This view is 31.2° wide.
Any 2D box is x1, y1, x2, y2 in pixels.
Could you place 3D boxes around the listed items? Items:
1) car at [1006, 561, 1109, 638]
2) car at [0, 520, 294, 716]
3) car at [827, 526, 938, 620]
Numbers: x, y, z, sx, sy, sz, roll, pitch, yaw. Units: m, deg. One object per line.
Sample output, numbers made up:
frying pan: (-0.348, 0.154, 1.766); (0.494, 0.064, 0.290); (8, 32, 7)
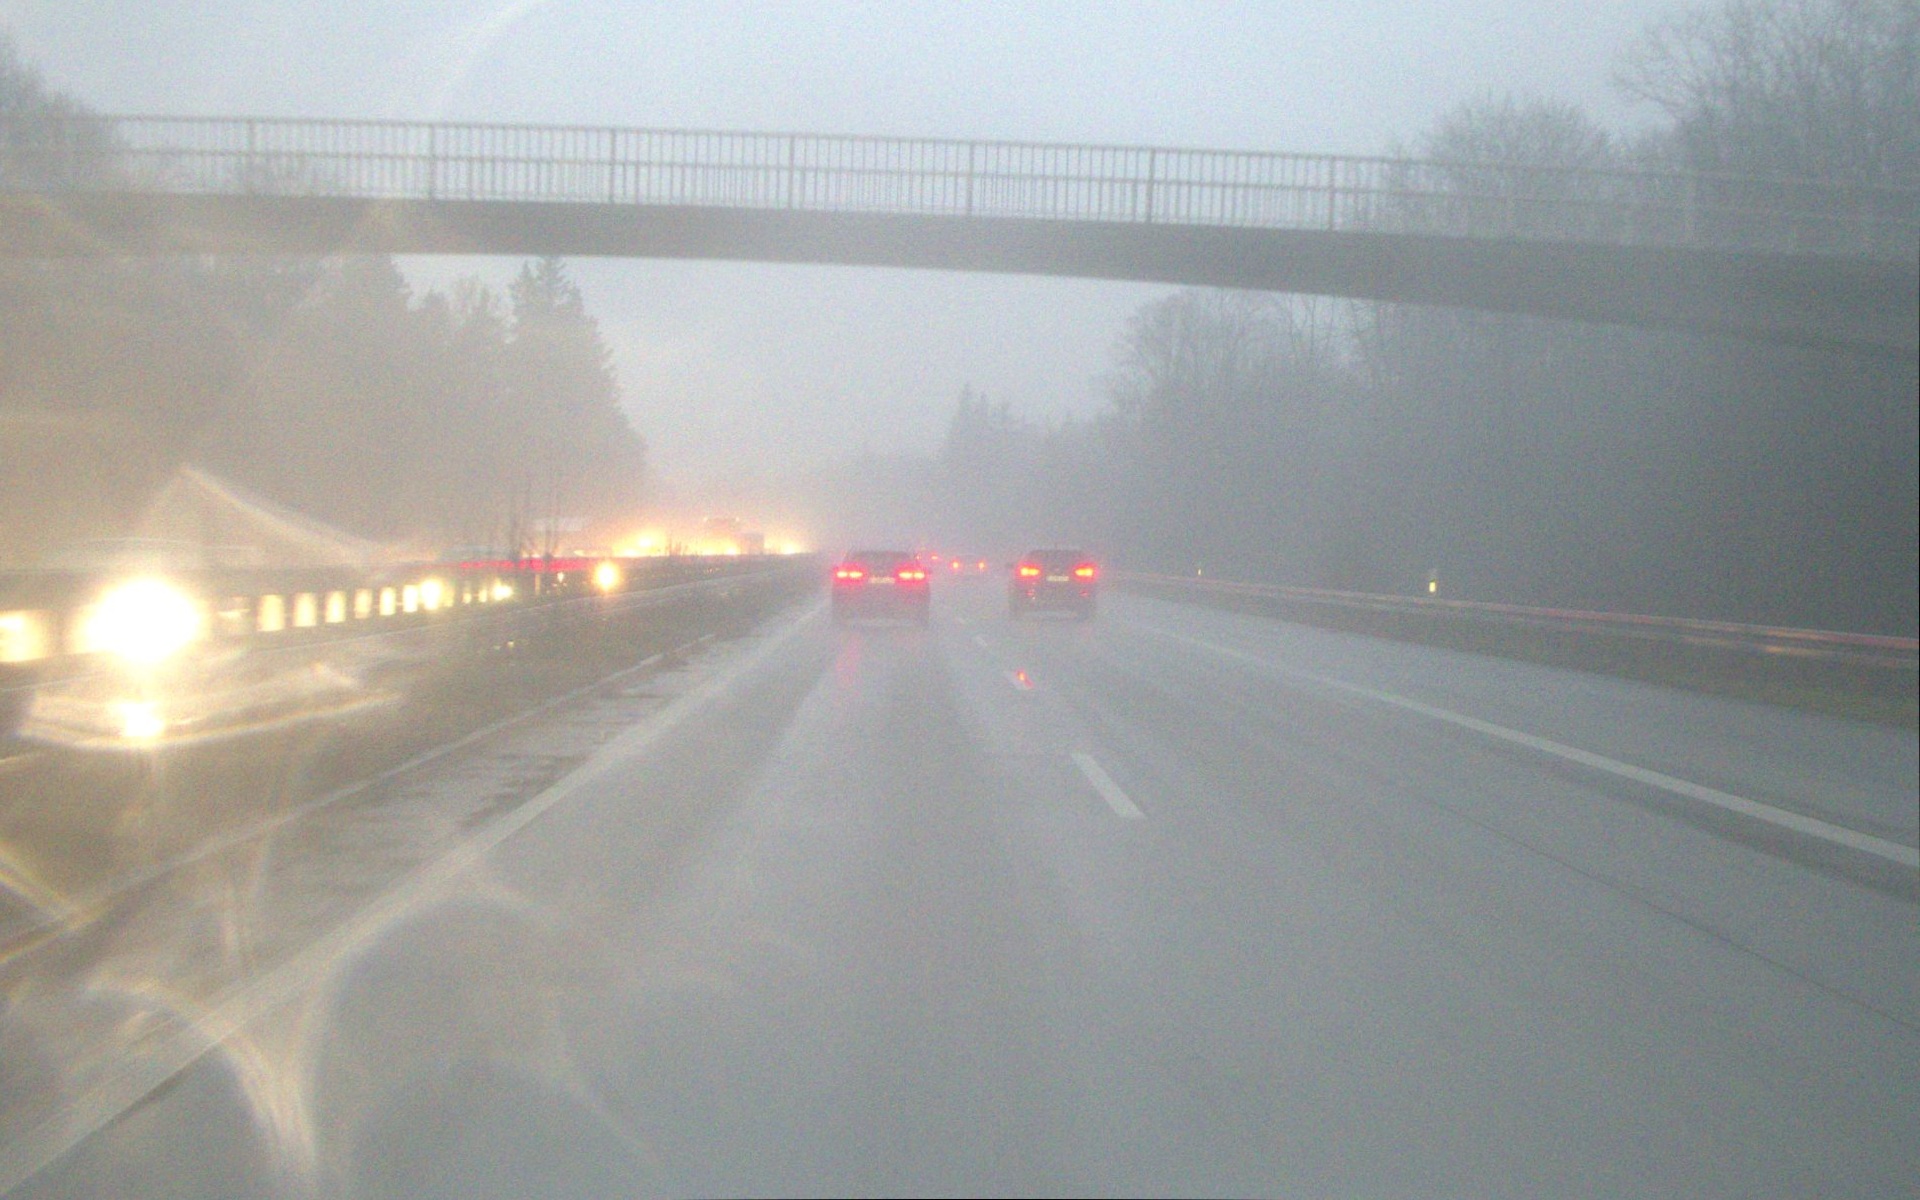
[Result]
car: (2.207, -0.034, 79.210); (2.070, 1.692, 4.461); (1, 1, -2)
car: (-8.113, 0.108, 33.811); (1.993, 1.710, 5.366); (2, 1, 0)
car: (-1.555, -0.541, 67.705); (1.986, 1.761, 4.174); (1, 1, -4)
